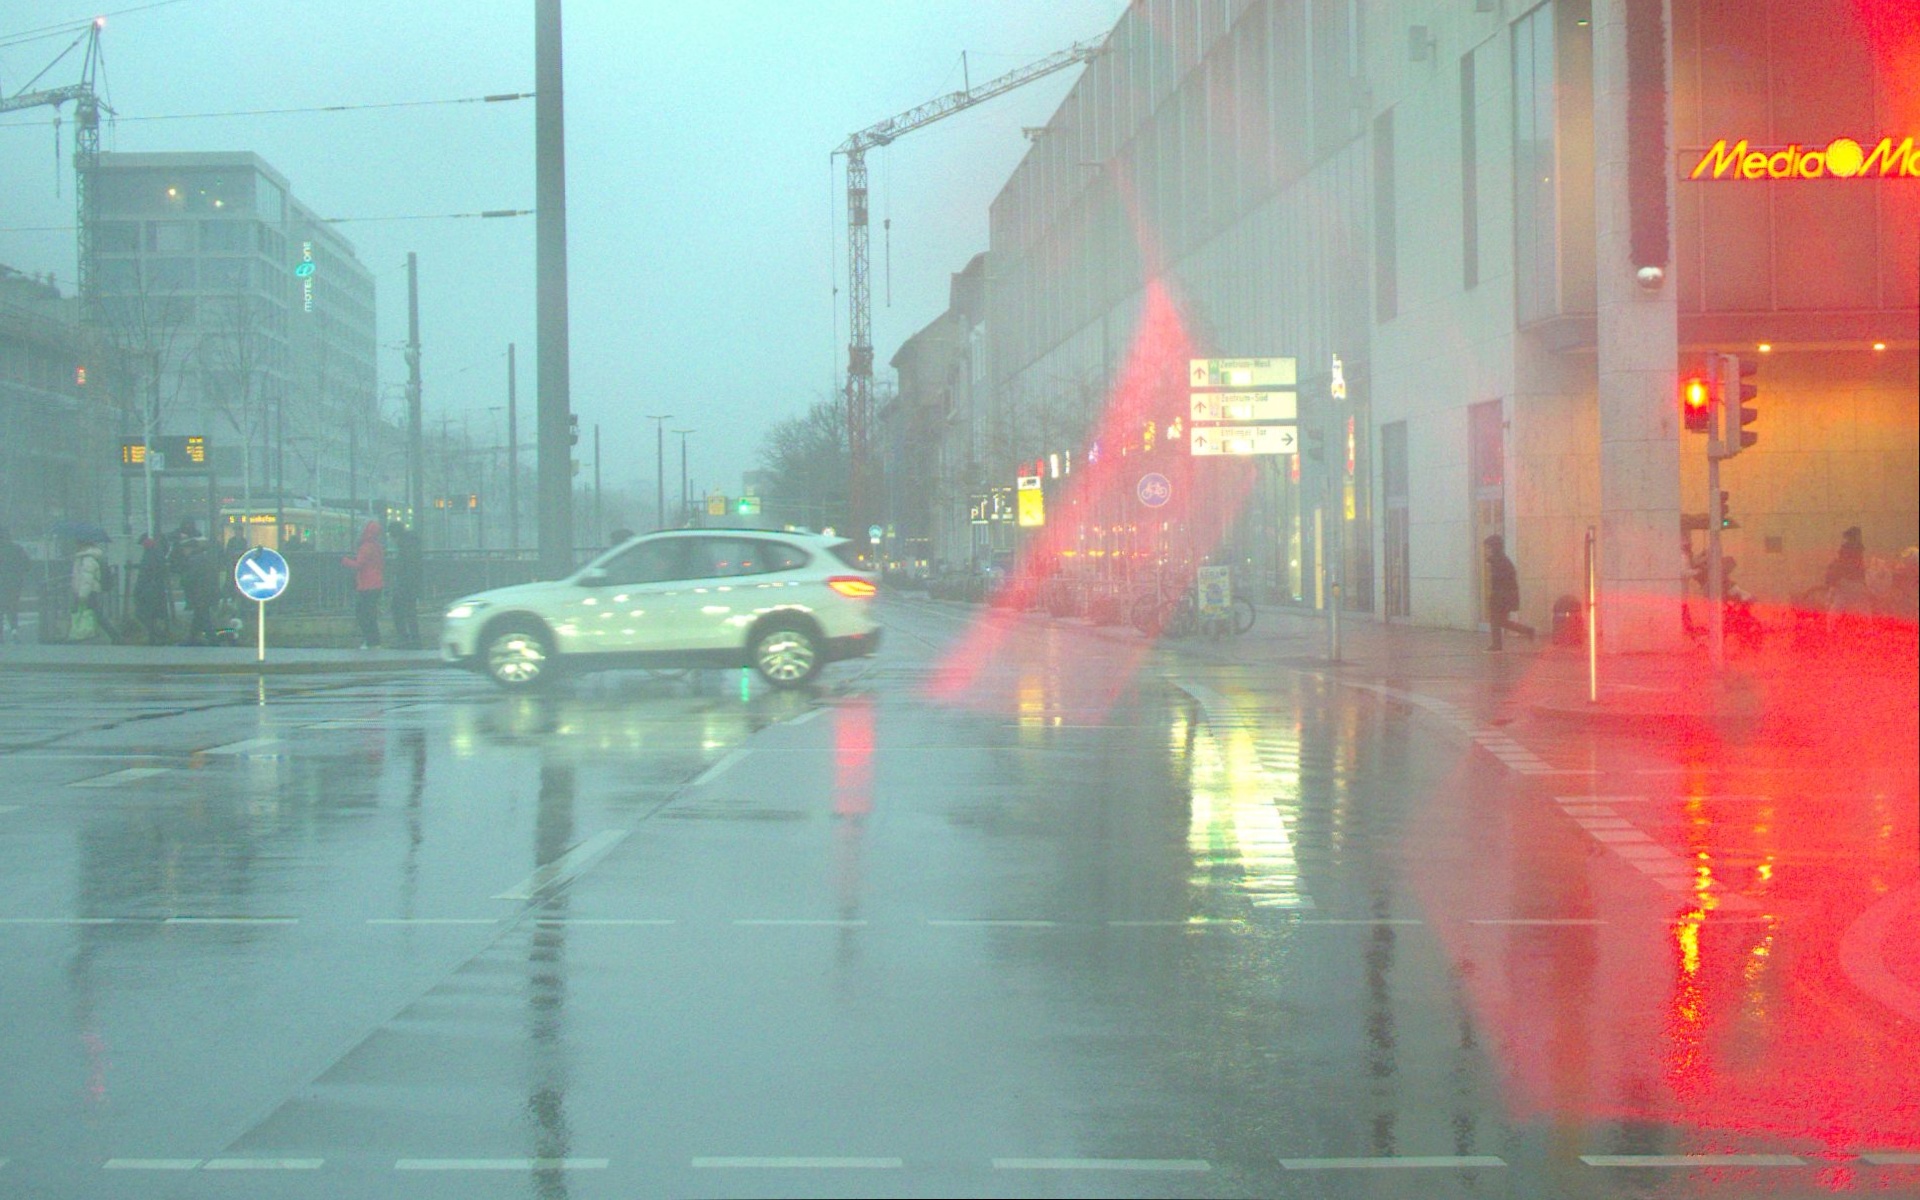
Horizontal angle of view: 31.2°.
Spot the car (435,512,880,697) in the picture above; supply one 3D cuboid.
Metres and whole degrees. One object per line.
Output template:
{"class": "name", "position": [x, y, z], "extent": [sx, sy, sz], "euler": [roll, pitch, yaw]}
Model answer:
{"class": "car", "position": [-3.003, 0.030, 34.736], "extent": [4.303, 1.755, 1.707], "euler": [-1, 1, 1]}

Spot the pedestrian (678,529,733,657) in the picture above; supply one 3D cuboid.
{"class": "pedestrian", "position": [-3.523, -0.097, 47.606], "extent": [0.703, 1.754, 0.652], "euler": [-1, 1, -1]}

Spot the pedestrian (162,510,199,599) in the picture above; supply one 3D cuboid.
{"class": "pedestrian", "position": [-15.395, -0.906, 67.877], "extent": [0.660, 1.740, 0.736], "euler": [-1, 1, -11]}

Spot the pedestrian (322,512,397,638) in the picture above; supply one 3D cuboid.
{"class": "pedestrian", "position": [-8.093, -0.334, 46.351], "extent": [0.831, 1.673, 0.619], "euler": [-1, 1, 7]}

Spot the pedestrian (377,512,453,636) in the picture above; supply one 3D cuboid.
{"class": "pedestrian", "position": [-7.464, -0.358, 47.112], "extent": [0.843, 1.682, 0.677], "euler": [-1, 1, 8]}

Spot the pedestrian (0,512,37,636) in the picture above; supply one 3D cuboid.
{"class": "pedestrian", "position": [-13.434, -0.367, 48.612], "extent": [0.619, 1.740, 0.613], "euler": [-1, 1, -6]}

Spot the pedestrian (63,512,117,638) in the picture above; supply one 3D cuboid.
{"class": "pedestrian", "position": [-12.096, -0.347, 47.807], "extent": [0.619, 1.740, 0.613], "euler": [-1, 1, -6]}

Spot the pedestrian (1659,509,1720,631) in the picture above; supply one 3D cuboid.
{"class": "pedestrian", "position": [10.084, -0.417, 47.506], "extent": [0.741, 1.661, 0.400], "euler": [-1, 1, 1]}

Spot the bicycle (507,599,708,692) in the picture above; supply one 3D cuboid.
{"class": "bicycle", "position": [-3.880, 0.499, 37.928], "extent": [2.128, 0.988, 0.541], "euler": [-1, 1, 4]}

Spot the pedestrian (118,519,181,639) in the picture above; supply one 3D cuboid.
{"class": "pedestrian", "position": [-11.012, -0.291, 46.750], "extent": [0.706, 1.613, 0.613], "euler": [-1, 1, -3]}

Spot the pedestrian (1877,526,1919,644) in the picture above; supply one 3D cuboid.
{"class": "pedestrian", "position": [13.746, -0.222, 50.174], "extent": [0.536, 1.712, 0.501], "euler": [0, 1, 37]}

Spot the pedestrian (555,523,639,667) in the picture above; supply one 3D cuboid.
{"class": "pedestrian", "position": [-3.999, -0.054, 37.932], "extent": [0.815, 1.564, 0.536], "euler": [-1, 1, 5]}

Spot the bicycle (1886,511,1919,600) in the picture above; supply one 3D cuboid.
{"class": "bicycle", "position": [15.184, -0.683, 51.548], "extent": [2.424, 1.325, 0.635], "euler": [-1, 1, -5]}

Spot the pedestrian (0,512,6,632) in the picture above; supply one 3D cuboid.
{"class": "pedestrian", "position": [-13.295, -0.370, 46.219], "extent": [0.706, 1.613, 0.680], "euler": [-1, 1, 1]}

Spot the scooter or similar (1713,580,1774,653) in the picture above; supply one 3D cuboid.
{"class": "scooter or similar", "position": [10.829, 0.230, 47.535], "extent": [0.741, 0.990, 0.400], "euler": [-1, 1, 1]}

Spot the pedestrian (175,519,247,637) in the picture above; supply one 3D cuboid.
{"class": "pedestrian", "position": [-10.287, -0.310, 47.258], "extent": [0.809, 1.602, 0.745], "euler": [-1, 1, -1]}

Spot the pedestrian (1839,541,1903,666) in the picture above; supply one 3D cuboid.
{"class": "pedestrian", "position": [12.906, 0.047, 48.738], "extent": [0.702, 1.754, 0.667], "euler": [-1, 1, -1]}

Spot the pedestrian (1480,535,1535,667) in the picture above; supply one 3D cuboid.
{"class": "pedestrian", "position": [7.420, 0.013, 46.632], "extent": [0.633, 1.766, 0.484], "euler": [-1, 1, -2]}
